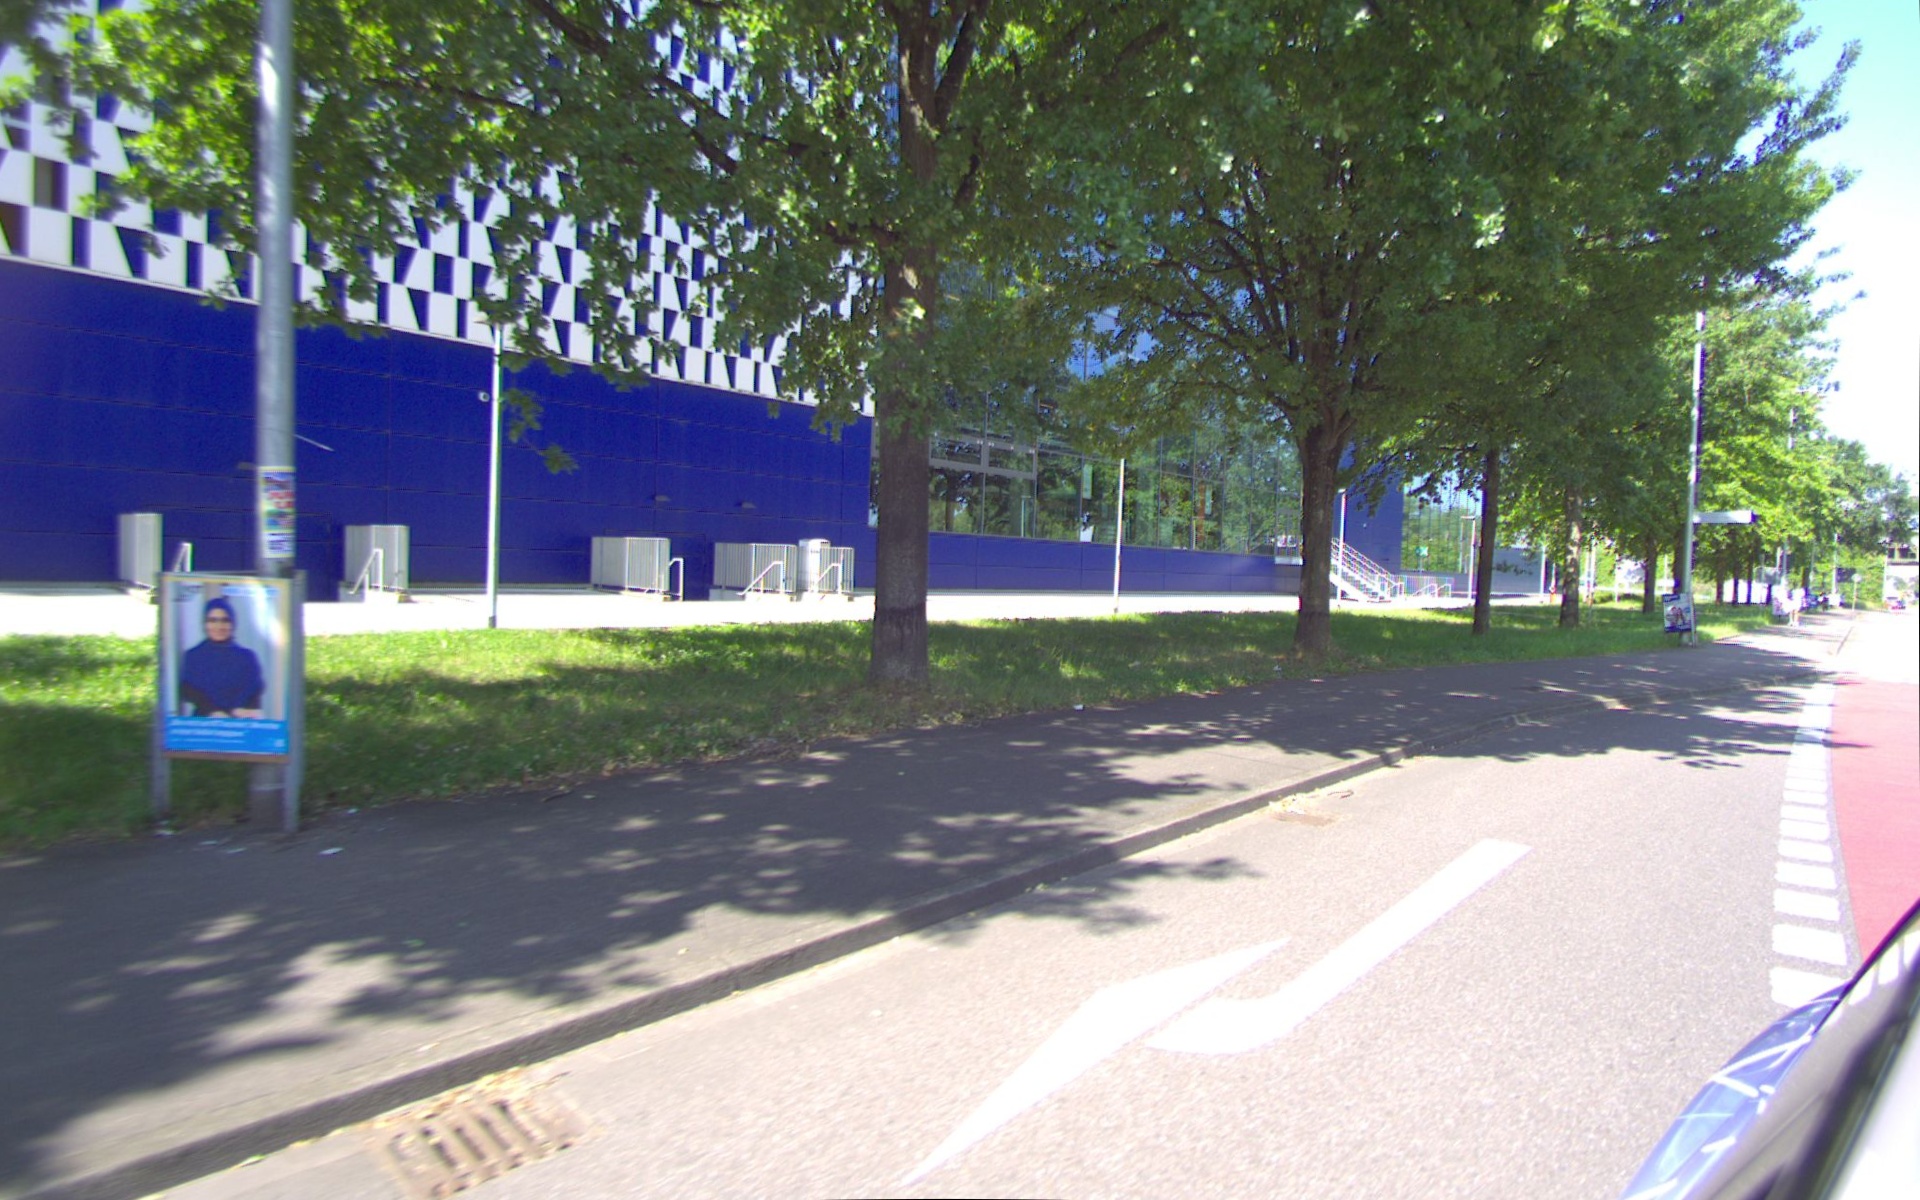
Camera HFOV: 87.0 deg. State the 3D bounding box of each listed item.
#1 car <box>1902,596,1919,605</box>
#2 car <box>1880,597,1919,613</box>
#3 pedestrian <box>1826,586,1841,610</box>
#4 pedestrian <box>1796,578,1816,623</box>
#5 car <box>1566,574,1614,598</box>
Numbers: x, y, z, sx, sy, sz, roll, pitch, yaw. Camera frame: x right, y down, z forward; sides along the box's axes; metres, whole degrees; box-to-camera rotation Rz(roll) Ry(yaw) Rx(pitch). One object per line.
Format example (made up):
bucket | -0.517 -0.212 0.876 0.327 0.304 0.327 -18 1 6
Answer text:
car | 147.540 0.104 156.891 1.815 1.371 3.944 4 2 39
car | 128.278 0.710 138.055 3.982 2.039 1.971 1 -1 40
pedestrian | 60.076 -0.133 69.597 0.647 1.623 0.833 3 2 44
pedestrian | 35.182 0.014 42.078 0.535 1.864 0.716 3 2 43
car | 51.673 -1.172 82.960 4.102 1.851 1.912 0 2 -37
